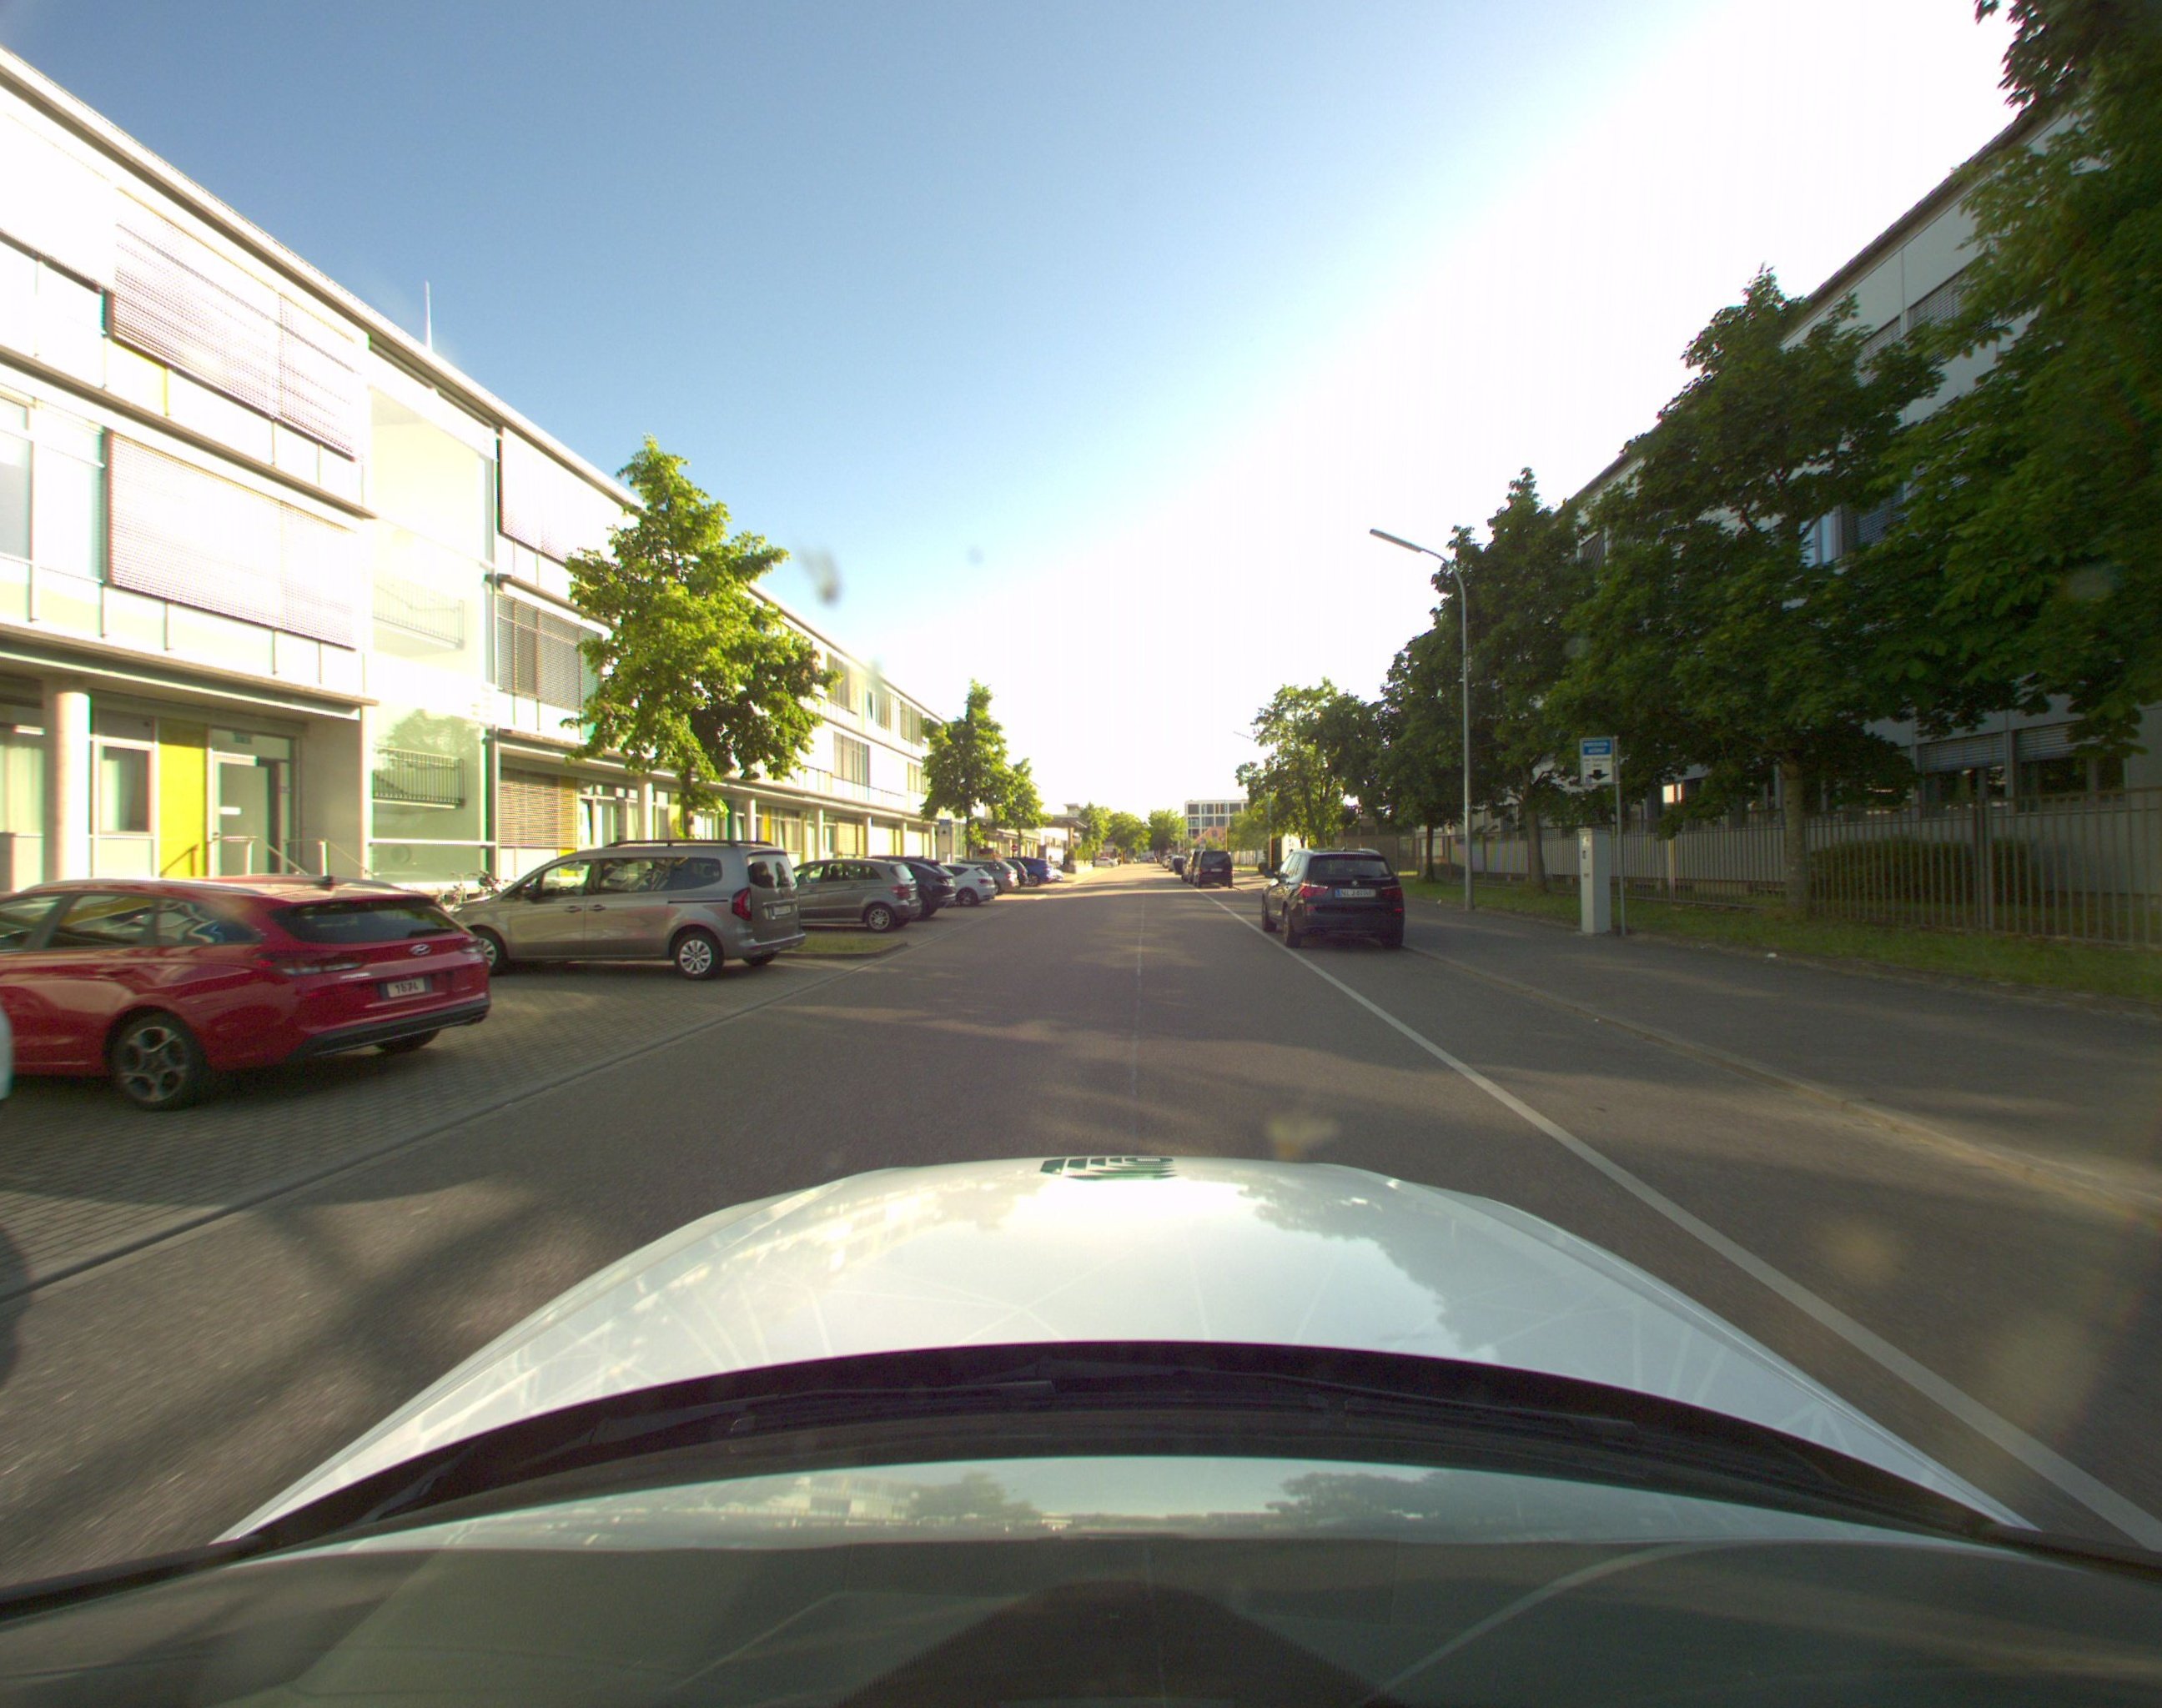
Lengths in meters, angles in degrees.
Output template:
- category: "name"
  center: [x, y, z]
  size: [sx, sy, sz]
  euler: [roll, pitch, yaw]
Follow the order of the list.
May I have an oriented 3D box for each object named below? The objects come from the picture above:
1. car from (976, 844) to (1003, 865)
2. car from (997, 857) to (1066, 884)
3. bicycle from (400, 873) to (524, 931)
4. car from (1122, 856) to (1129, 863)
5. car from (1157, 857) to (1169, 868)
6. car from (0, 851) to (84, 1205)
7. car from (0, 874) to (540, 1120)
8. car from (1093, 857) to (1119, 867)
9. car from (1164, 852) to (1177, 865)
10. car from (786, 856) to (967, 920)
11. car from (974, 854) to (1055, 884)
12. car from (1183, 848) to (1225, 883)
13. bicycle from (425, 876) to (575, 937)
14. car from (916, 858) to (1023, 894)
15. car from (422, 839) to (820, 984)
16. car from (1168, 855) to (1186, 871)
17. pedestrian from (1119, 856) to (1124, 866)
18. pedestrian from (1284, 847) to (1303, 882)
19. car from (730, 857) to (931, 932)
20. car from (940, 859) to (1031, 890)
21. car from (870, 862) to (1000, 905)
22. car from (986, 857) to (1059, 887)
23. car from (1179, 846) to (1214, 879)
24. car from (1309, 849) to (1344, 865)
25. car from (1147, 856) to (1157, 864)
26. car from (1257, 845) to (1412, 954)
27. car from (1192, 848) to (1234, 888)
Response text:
- category: "car"
  center: [-9.354, 0.064, 83.701]
  size: [1.984, 2.014, 4.004]
  euler: [-1, -2, 4]
- category: "car"
  center: [-2.968, 0.994, 49.297]
  size: [3.972, 1.552, 2.001]
  euler: [-1, 0, 1]
- category: "bicycle"
  center: [-13.313, 0.989, 17.604]
  size: [0.863, 1.153, 2.000]
  euler: [0, -1, 14]
- category: "car"
  center: [10.560, 1.240, 193.946]
  size: [1.720, 1.536, 4.003]
  euler: [-1, 0, 3]
- category: "car"
  center: [15.330, 1.576, 152.321]
  size: [1.984, 2.014, 4.004]
  euler: [-1, -2, 4]
- category: "car"
  center: [-7.420, 0.840, 3.455]
  size: [4.586, 1.651, 1.871]
  euler: [-1, -1, 7]
- category: "car"
  center: [-6.865, 0.946, 6.143]
  size: [4.413, 1.501, 1.830]
  euler: [-1, -1, 4]
- category: "car"
  center: [3.877, 1.206, 127.772]
  size: [3.968, 1.519, 2.002]
  euler: [-1, -2, 4]
- category: "car"
  center: [11.095, 0.513, 100.764]
  size: [1.429, 1.560, 3.045]
  euler: [-1, 0, 4]
- category: "car"
  center: [-5.319, 0.862, 21.604]
  size: [4.232, 1.612, 2.048]
  euler: [0, 0, 0]
- category: "car"
  center: [-3.566, 0.811, 44.379]
  size: [4.199, 1.603, 1.872]
  euler: [0, 0, 0]
- category: "car"
  center: [6.897, 0.625, 45.975]
  size: [1.984, 1.823, 4.203]
  euler: [-2, 0, 4]
- category: "bicycle"
  center: [-11.994, 1.039, 16.923]
  size: [0.861, 1.153, 2.386]
  euler: [0, -1, 25]
- category: "car"
  center: [-4.644, 0.917, 34.413]
  size: [4.199, 1.462, 1.872]
  euler: [0, 0, 0]
- category: "car"
  center: [-6.427, 0.739, 11.697]
  size: [4.720, 1.865, 1.830]
  euler: [0, 0, 4]
- category: "car"
  center: [9.340, 0.821, 79.248]
  size: [1.490, 1.479, 3.654]
  euler: [-2, 0, 4]
- category: "pedestrian"
  center: [6.260, 1.055, 125.109]
  size: [0.616, 1.624, 0.717]
  euler: [-2, -1, 4]
- category: "pedestrian"
  center: [10.357, 0.513, 39.695]
  size: [0.695, 1.661, 0.752]
  euler: [-4, -1, 4]
- category: "car"
  center: [-5.632, 0.890, 18.660]
  size: [3.973, 1.607, 1.872]
  euler: [0, 0, 0]
- category: "car"
  center: [-4.618, 0.987, 39.952]
  size: [4.199, 1.486, 1.872]
  euler: [0, 0, 0]
- category: "car"
  center: [-4.815, 0.974, 27.202]
  size: [3.973, 1.358, 1.743]
  euler: [0, 0, 0]
- category: "car"
  center: [-3.310, 1.004, 46.803]
  size: [3.972, 1.552, 2.001]
  euler: [-2, 0, 1]
- category: "car"
  center: [7.355, 0.550, 52.213]
  size: [1.866, 1.978, 4.005]
  euler: [-2, 0, 4]
- category: "car"
  center: [32.058, 0.379, 106.522]
  size: [3.971, 2.014, 2.001]
  euler: [-1, -2, 2]
- category: "car"
  center: [15.214, 1.299, 173.821]
  size: [1.732, 1.543, 4.012]
  euler: [-1, 0, 11]
- category: "car"
  center: [4.397, 0.668, 14.832]
  size: [1.803, 1.666, 4.600]
  euler: [0, 1, 6]
- category: "car"
  center: [6.396, 0.639, 39.745]
  size: [1.725, 1.830, 3.910]
  euler: [-1, 0, 5]
